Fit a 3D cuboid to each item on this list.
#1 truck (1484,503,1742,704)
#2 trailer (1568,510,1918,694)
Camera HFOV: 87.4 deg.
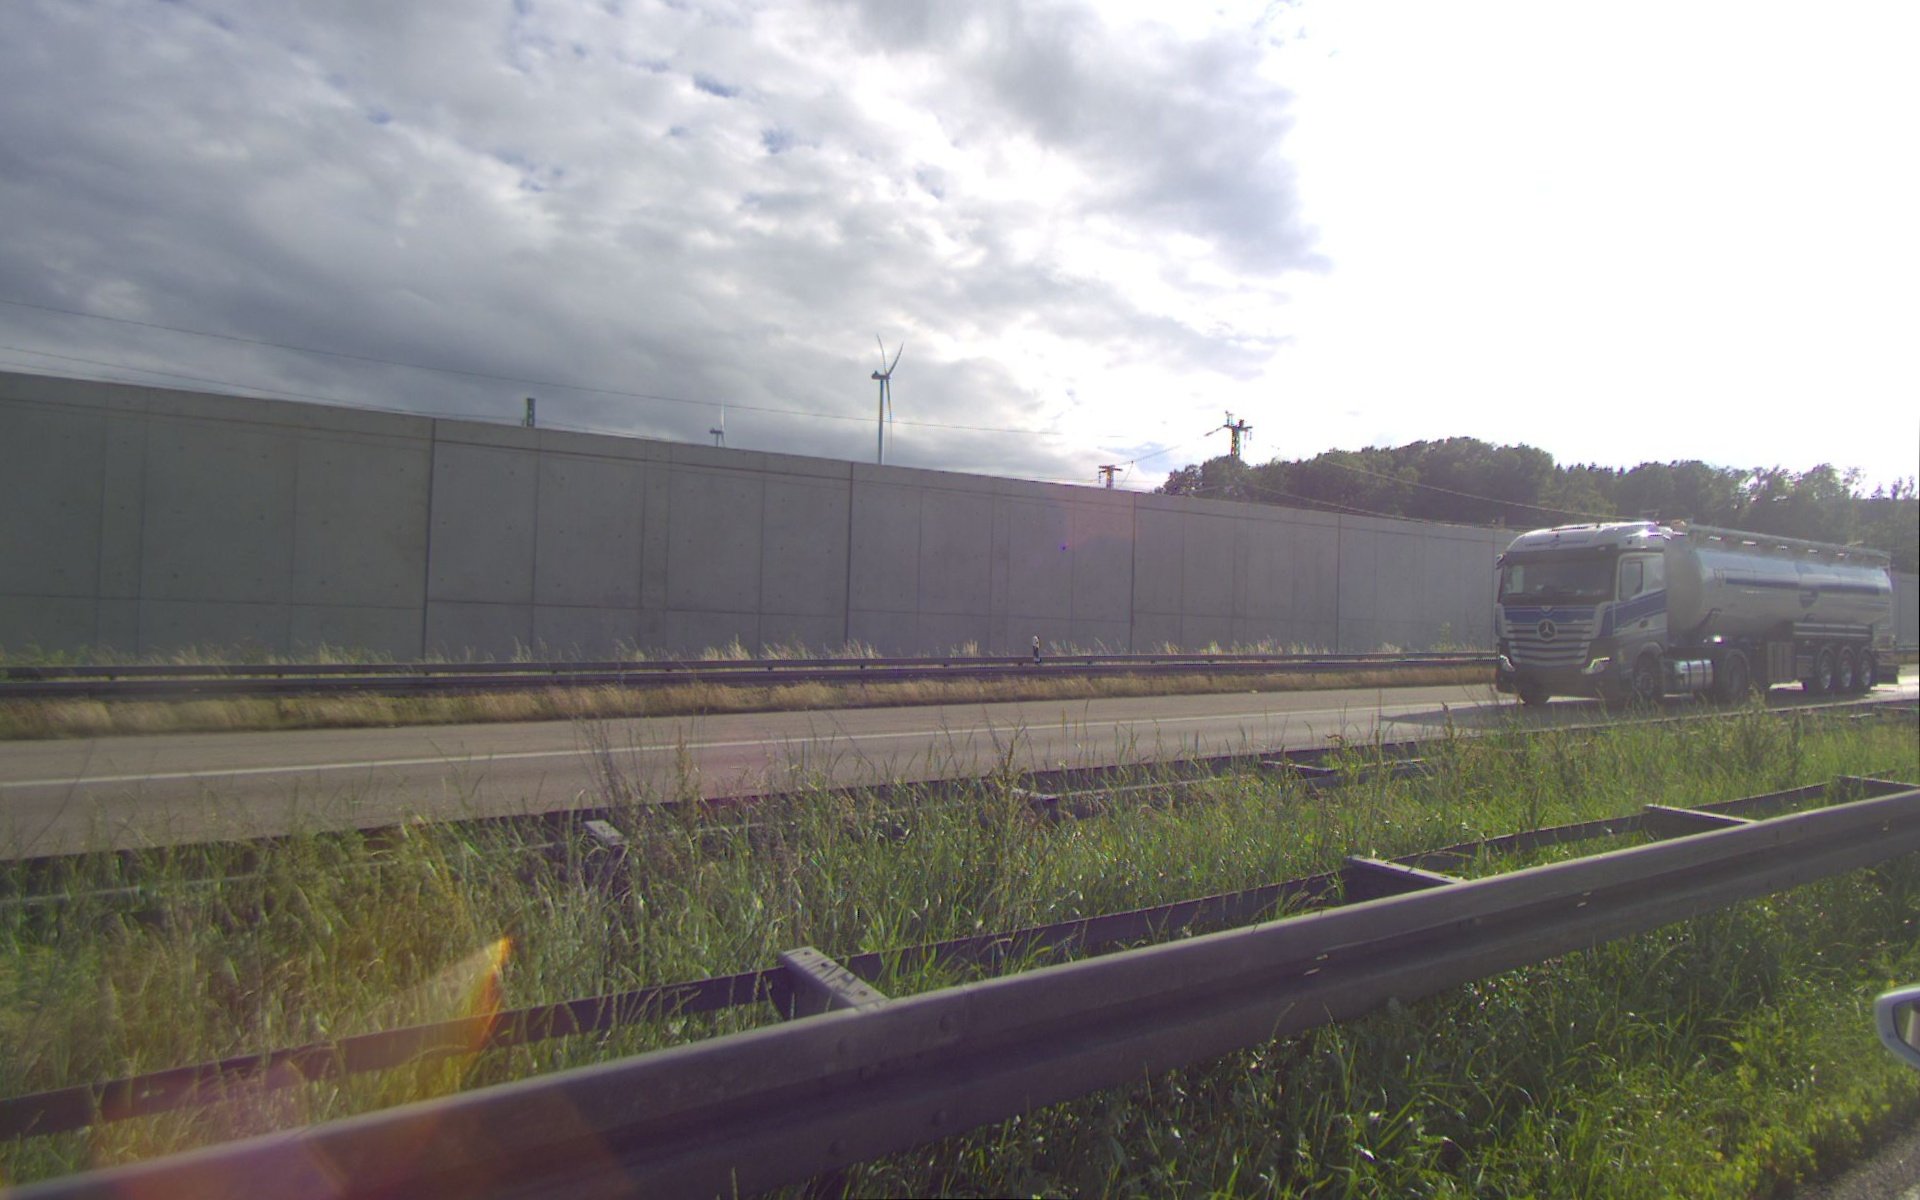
[{"bbox_3d":[14.100,0.184,21.652,5.354,3.848,2.541,2,-2,-30],"label":"truck"},{"bbox_3d":[19.903,0.270,25.095,12.395,3.820,2.528,2,-2,-31],"label":"trailer"}]
